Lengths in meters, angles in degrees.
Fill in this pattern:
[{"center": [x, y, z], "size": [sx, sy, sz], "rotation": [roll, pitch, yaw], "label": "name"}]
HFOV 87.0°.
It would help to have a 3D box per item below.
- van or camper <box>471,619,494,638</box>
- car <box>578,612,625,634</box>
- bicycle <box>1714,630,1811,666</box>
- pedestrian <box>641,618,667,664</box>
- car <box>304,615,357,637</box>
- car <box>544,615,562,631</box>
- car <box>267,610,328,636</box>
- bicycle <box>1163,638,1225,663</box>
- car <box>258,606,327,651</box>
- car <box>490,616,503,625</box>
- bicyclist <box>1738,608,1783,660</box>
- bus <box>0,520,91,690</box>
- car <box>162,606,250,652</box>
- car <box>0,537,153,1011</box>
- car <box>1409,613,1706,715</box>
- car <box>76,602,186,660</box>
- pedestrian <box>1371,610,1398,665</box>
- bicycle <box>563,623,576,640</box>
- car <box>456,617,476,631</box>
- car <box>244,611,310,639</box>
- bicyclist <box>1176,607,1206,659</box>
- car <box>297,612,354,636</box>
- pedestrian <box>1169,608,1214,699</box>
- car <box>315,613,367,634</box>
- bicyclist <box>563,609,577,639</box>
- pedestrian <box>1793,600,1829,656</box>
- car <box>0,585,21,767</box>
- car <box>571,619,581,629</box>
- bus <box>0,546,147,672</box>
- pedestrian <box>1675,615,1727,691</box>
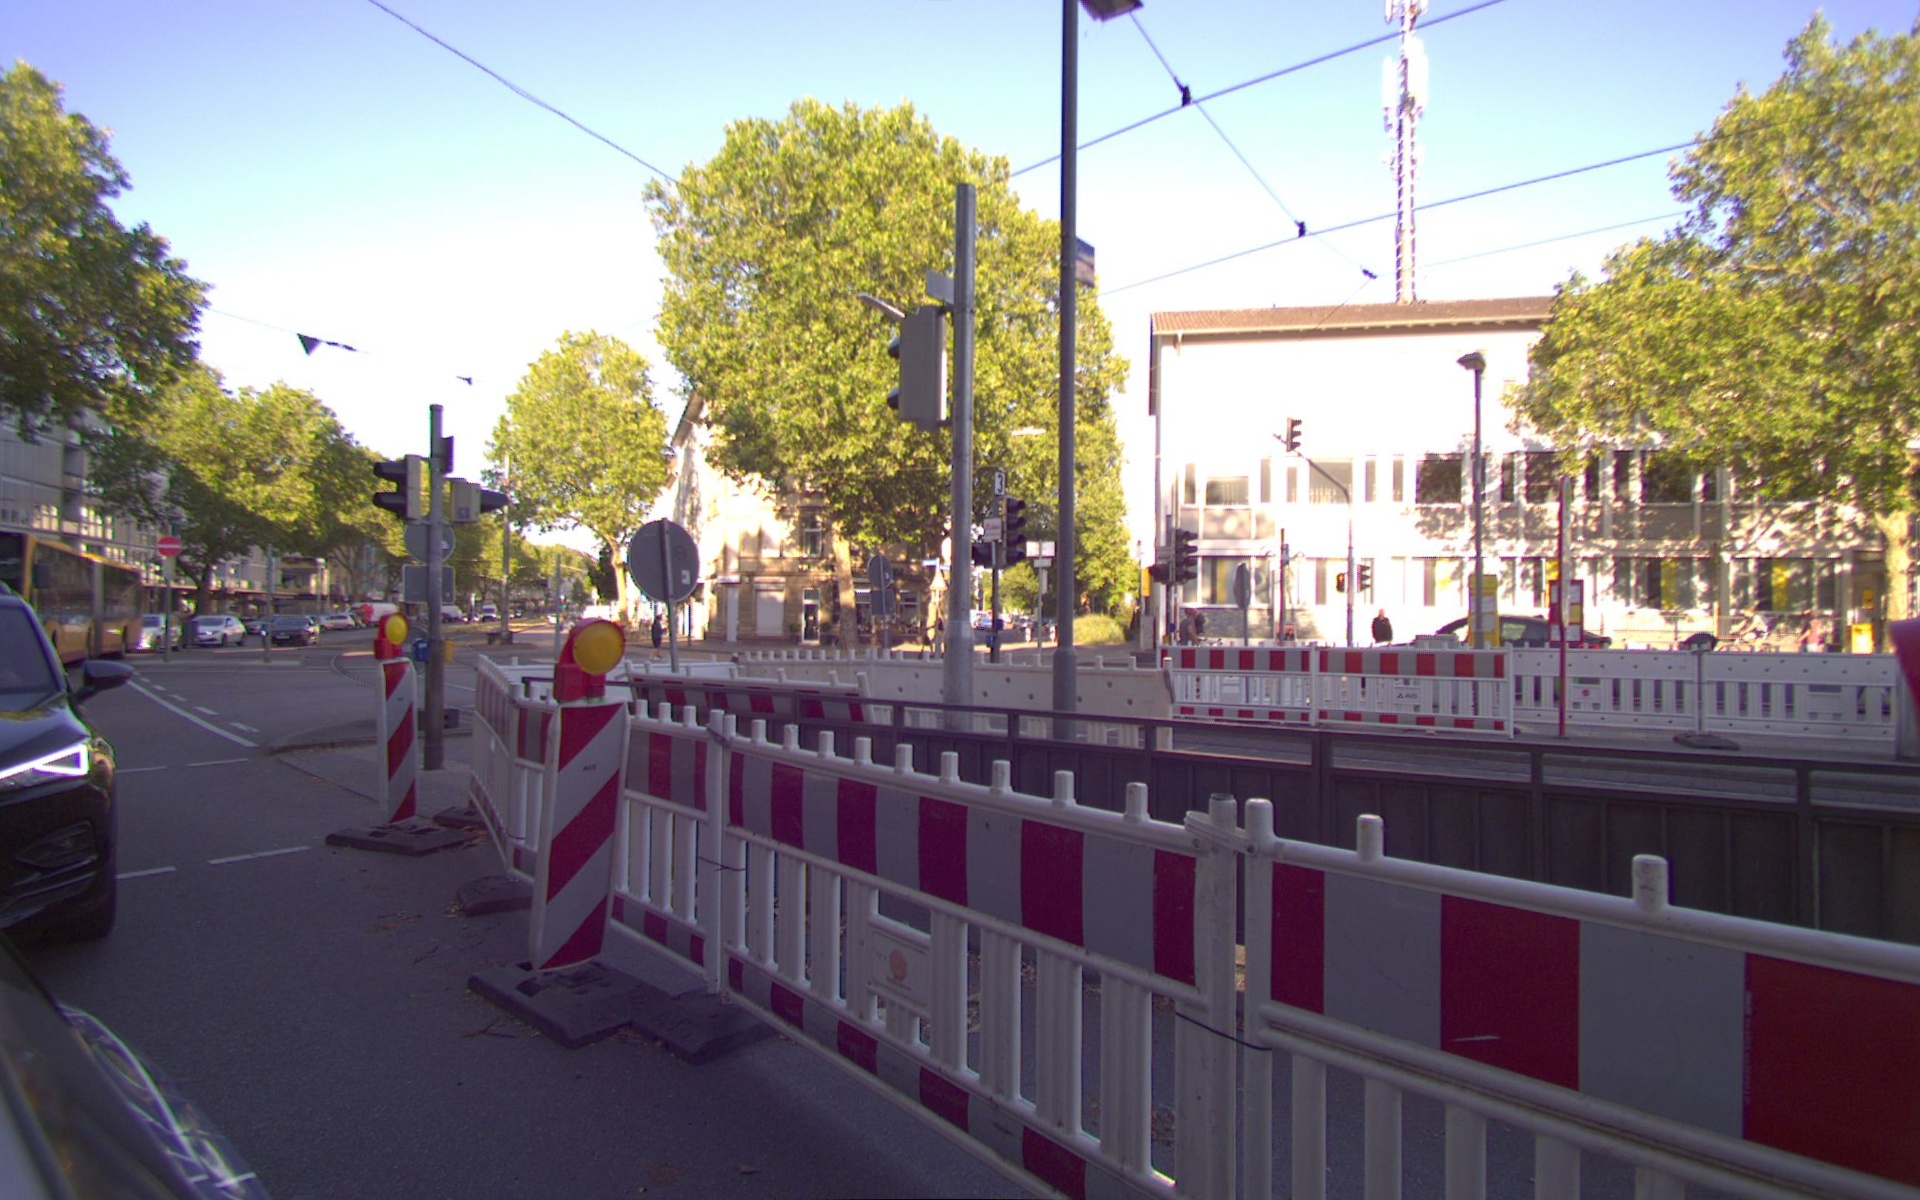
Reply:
[{"center": [-71.048, 4.257, 150.673], "size": [2.385, 2.739, 6.151], "rotation": [1, -1, -18], "label": "van or camper"}, {"center": [-34.315, 2.211, 96.842], "size": [1.990, 2.029, 3.963], "rotation": [0, -2, 27], "label": "car"}, {"center": [23.817, 1.424, 30.073], "size": [2.166, 1.039, 0.676], "rotation": [0, -2, 11], "label": "bicycle"}, {"center": [-10.486, 1.407, 34.698], "size": [0.594, 1.545, 0.746], "rotation": [1, -2, -38], "label": "pedestrian"}, {"center": [-58.483, 2.388, 94.043], "size": [3.938, 2.029, 2.002], "rotation": [1, -2, -42], "label": "car"}, {"center": [-51.355, 2.921, 127.848], "size": [1.965, 2.029, 4.013], "rotation": [1, -1, -20], "label": "car"}, {"center": [-53.933, 1.858, 82.416], "size": [3.938, 2.029, 2.002], "rotation": [1, -2, -42], "label": "car"}, {"center": [7.901, 1.714, 34.291], "size": [1.991, 0.788, 0.672], "rotation": [-1, -2, 43], "label": "bicycle"}, {"center": [-31.500, 1.327, 47.873], "size": [1.965, 2.029, 4.013], "rotation": [1, -1, -22], "label": "car"}, {"center": [-77.900, 3.475, 170.030], "size": [1.675, 1.481, 3.776], "rotation": [1, -2, -19], "label": "car"}, {"center": [23.790, 0.999, 30.070], "size": [0.836, 1.538, 0.574], "rotation": [0, -2, 8], "label": "bicyclist"}, {"center": [-20.890, 0.147, 21.716], "size": [2.678, 3.130, 8.641], "rotation": [1, -2, -36], "label": "bus"}, {"center": [-34.718, 1.334, 46.722], "size": [1.966, 2.029, 4.012], "rotation": [1, -1, -17], "label": "car"}, {"center": [-5.299, 0.642, 4.629], "size": [3.998, 1.719, 1.818], "rotation": [-1, -2, 41], "label": "car"}, {"center": [11.007, 1.092, 18.808], "size": [4.552, 1.674, 1.974], "rotation": [-1, -2, 38], "label": "car"}, {"center": [-30.720, 1.143, 37.650], "size": [1.965, 2.029, 4.111], "rotation": [1, -1, -21], "label": "car"}, {"center": [12.286, 1.070, 29.277], "size": [0.649, 1.564, 0.563], "rotation": [-1, -2, 28], "label": "pedestrian"}, {"center": [-27.361, 2.204, 70.844], "size": [0.837, 1.202, 2.474], "rotation": [1, -1, -22], "label": "bicycle"}, {"center": [-63.271, 3.093, 129.592], "size": [1.809, 1.715, 4.143], "rotation": [1, -2, -19], "label": "car"}, {"center": [-50.032, 1.851, 74.232], "size": [3.932, 2.029, 2.006], "rotation": [1, -2, -32], "label": "car"}, {"center": [7.835, 1.130, 34.384], "size": [0.765, 1.741, 0.664], "rotation": [-1, -2, 43], "label": "bicyclist"}, {"center": [-55.910, 2.111, 89.180], "size": [3.938, 2.029, 2.002], "rotation": [1, -2, -42], "label": "car"}, {"center": [4.584, 1.051, 20.055], "size": [0.545, 1.760, 0.693], "rotation": [1, -2, -24], "label": "pedestrian"}, {"center": [-60.125, 2.265, 98.311], "size": [3.938, 2.029, 2.002], "rotation": [1, -2, -42], "label": "car"}, {"center": [-27.293, 1.678, 70.803], "size": [0.841, 2.029, 0.987], "rotation": [1, -2, -22], "label": "bicyclist"}, {"center": [22.456, 0.737, 26.715], "size": [0.583, 1.466, 0.581], "rotation": [-1, -2, 29], "label": "pedestrian"}, {"center": [-10.821, 0.695, 9.899], "size": [4.073, 1.656, 1.973], "rotation": [-1, -2, 41], "label": "car"}, {"center": [-69.307, 4.292, 182.540], "size": [1.661, 1.866, 4.013], "rotation": [1, -1, -20], "label": "car"}, {"center": [-25.824, 0.309, 29.036], "size": [2.676, 3.130, 8.622], "rotation": [1, -2, -31], "label": "bus"}, {"center": [18.432, 1.300, 25.202], "size": [0.923, 1.847, 0.693], "rotation": [-1, -2, 28], "label": "pedestrian"}]
